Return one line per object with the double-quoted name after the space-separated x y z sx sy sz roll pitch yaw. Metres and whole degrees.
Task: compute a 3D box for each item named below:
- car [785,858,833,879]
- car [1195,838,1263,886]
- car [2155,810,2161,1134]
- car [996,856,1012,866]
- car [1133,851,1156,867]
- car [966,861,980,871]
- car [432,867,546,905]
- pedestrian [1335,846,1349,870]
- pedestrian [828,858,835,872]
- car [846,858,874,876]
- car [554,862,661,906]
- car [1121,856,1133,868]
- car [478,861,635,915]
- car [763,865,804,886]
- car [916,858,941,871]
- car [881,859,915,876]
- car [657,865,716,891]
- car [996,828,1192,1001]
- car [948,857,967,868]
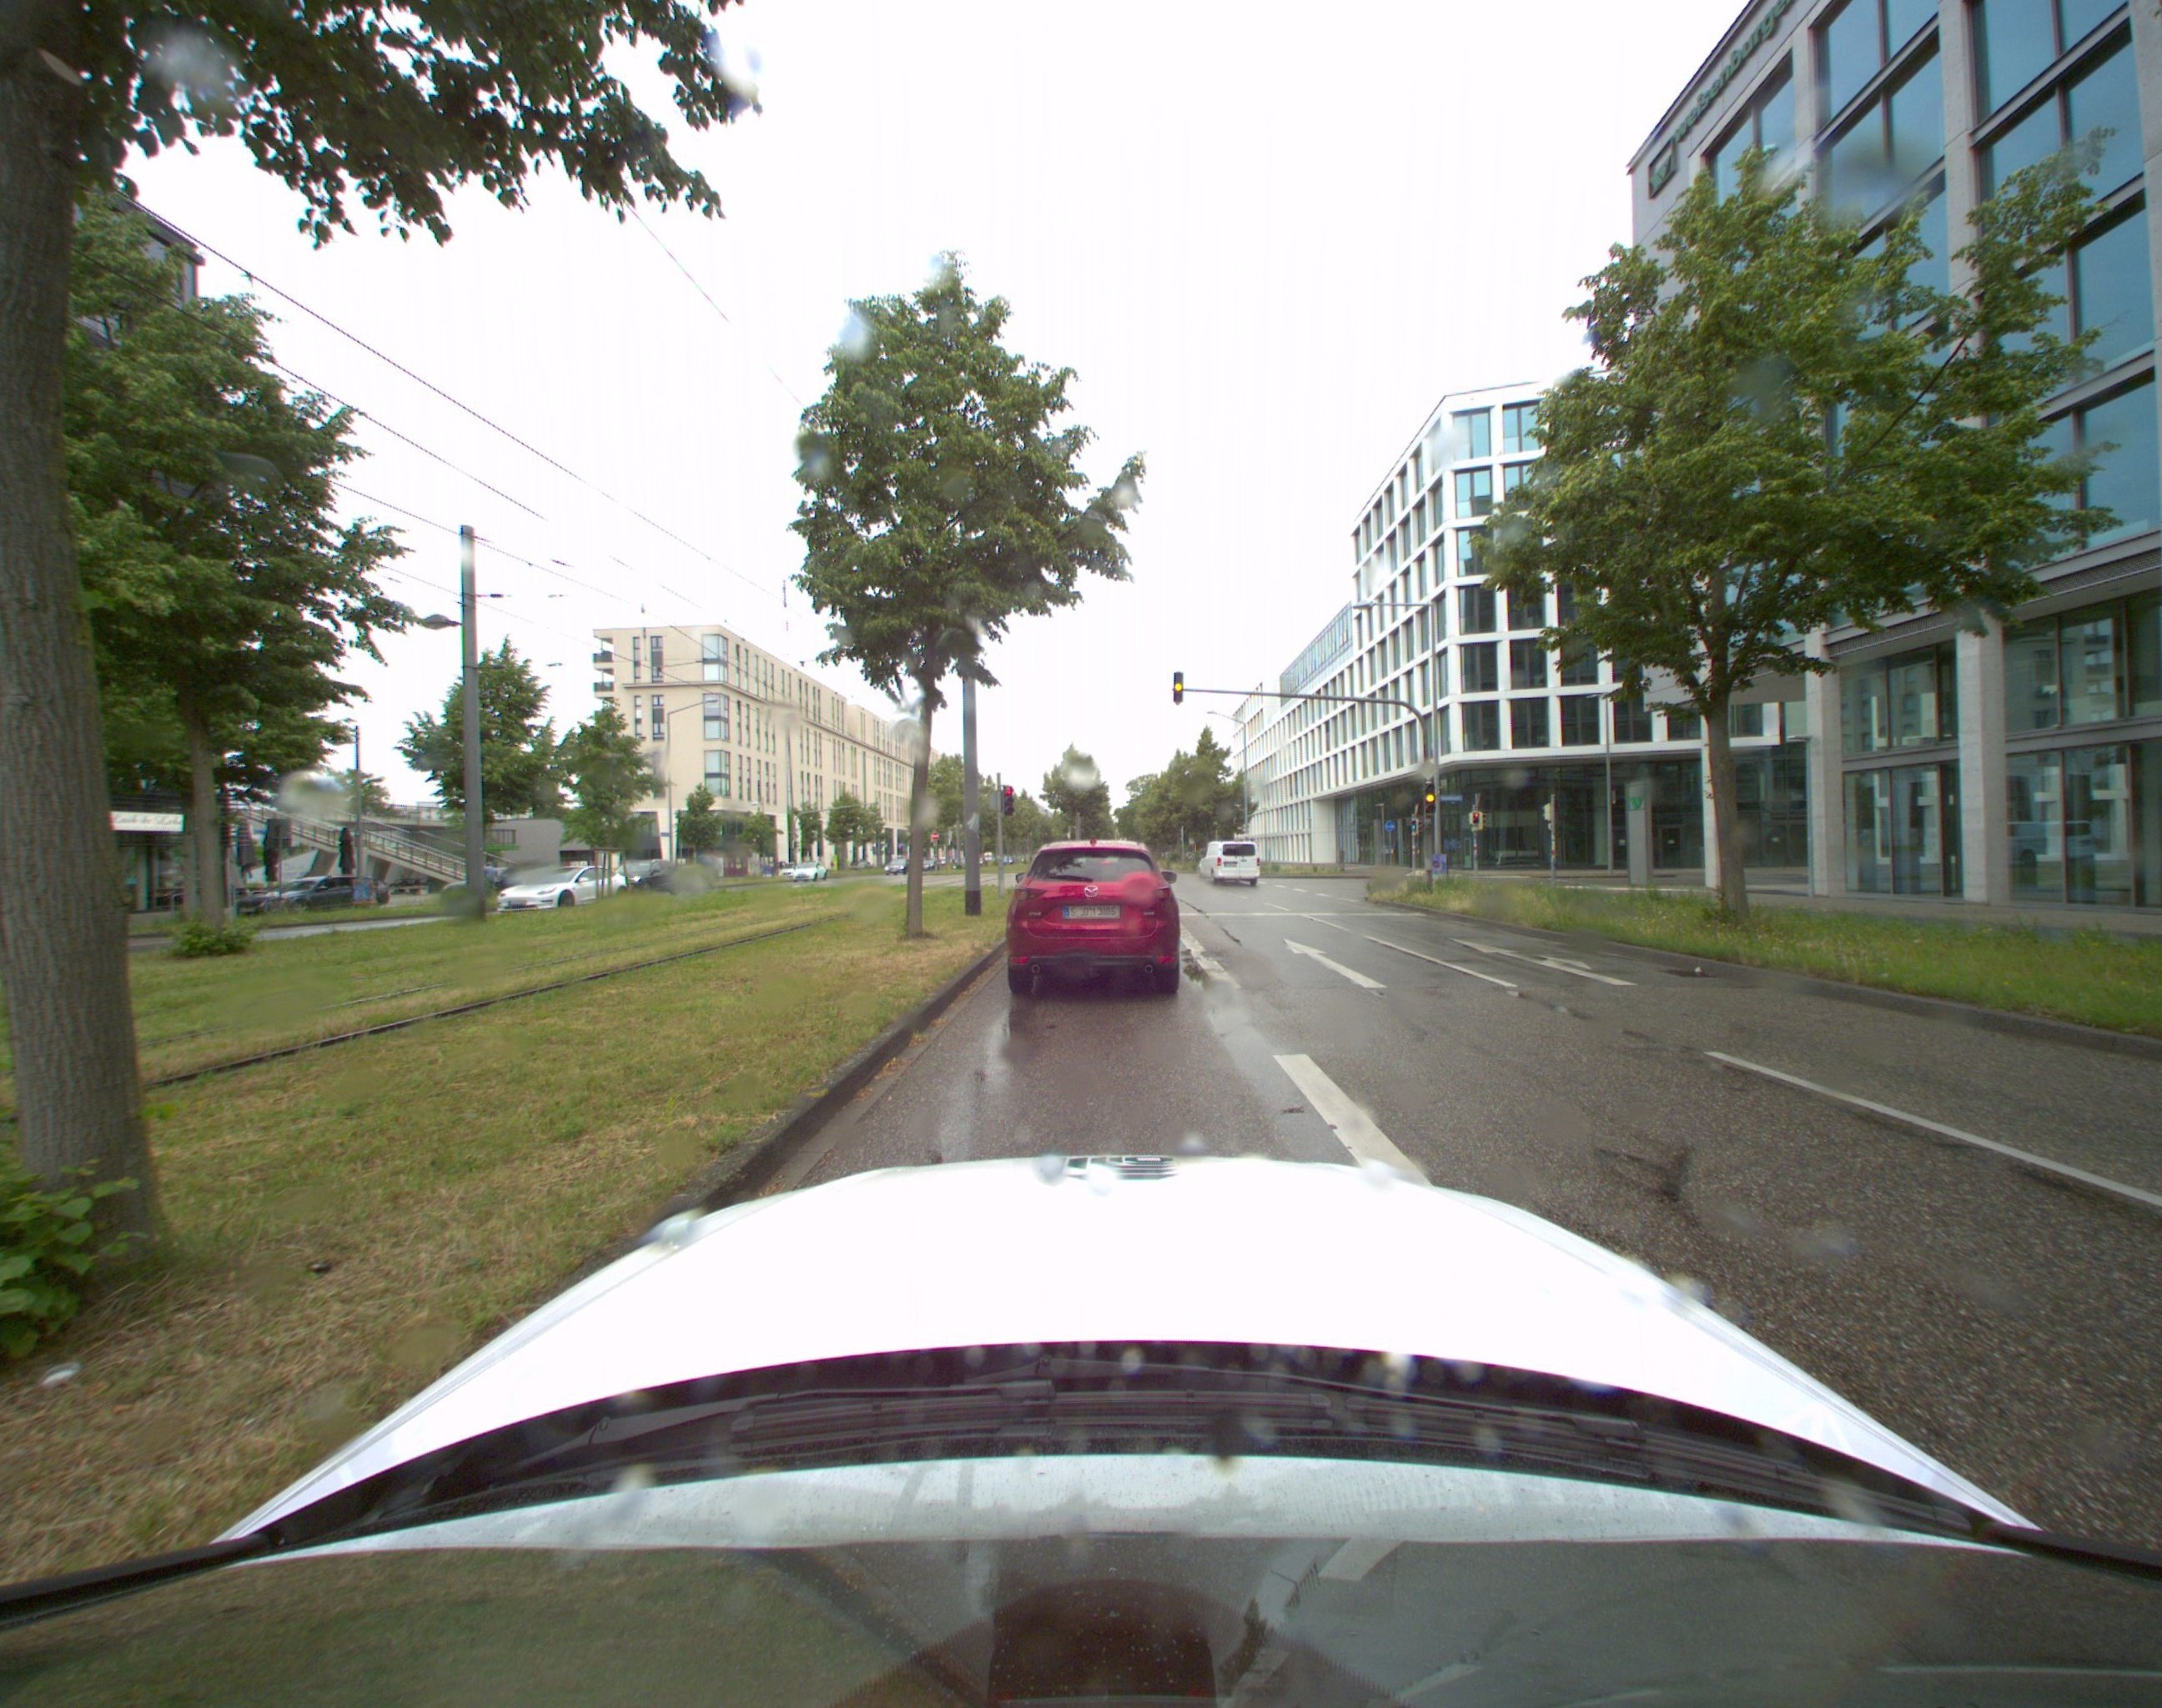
-20.008 1.039 60.042 1.987 1.484 4.445 -1 0 0 "car"
6.467 0.344 36.073 1.962 1.979 5.088 -1 0 -2 "car"
6.163 0.562 1.931 1.787 1.612 4.248 2 -1 3 "car"
-12.283 1.084 130.032 1.986 1.484 4.447 -1 0 1 "car"
5.898 0.440 76.094 1.739 1.465 3.778 -1 0 -2 "car"
-17.825 1.981 134.494 1.989 1.484 4.441 -1 0 -3 "car"
-26.693 1.414 36.910 1.988 1.484 4.442 -1 0 -2 "car"
18.651 0.310 58.253 0.676 1.707 0.783 -1 0 -3 "pedestrian"
-32.921 1.435 107.345 0.632 1.717 0.743 -1 0 4 "pedestrian"
-24.610 1.453 90.816 1.986 1.838 4.001 -1 0 1 "car"
-19.292 1.176 33.397 1.987 1.618 4.000 -1 0 0 "car"
8.235 1.475 145.508 1.986 2.013 4.002 -1 0 2 "car"
-16.433 1.001 25.848 1.986 1.484 4.447 -1 0 1 "car"
-25.588 1.834 70.192 1.987 1.618 4.000 -1 0 0 "car"
-18.671 1.326 99.931 1.986 1.484 4.448 -1 0 2 "car"
-16.865 1.212 75.177 1.986 1.484 4.446 -1 0 1 "car"
-26.799 1.594 55.509 1.988 1.598 4.442 -1 0 -2 "car"
0.189 0.586 9.980 1.891 1.677 4.002 -1 0 2 "car"
-18.256 1.286 120.388 1.987 1.484 4.446 -1 0 1 "car"
